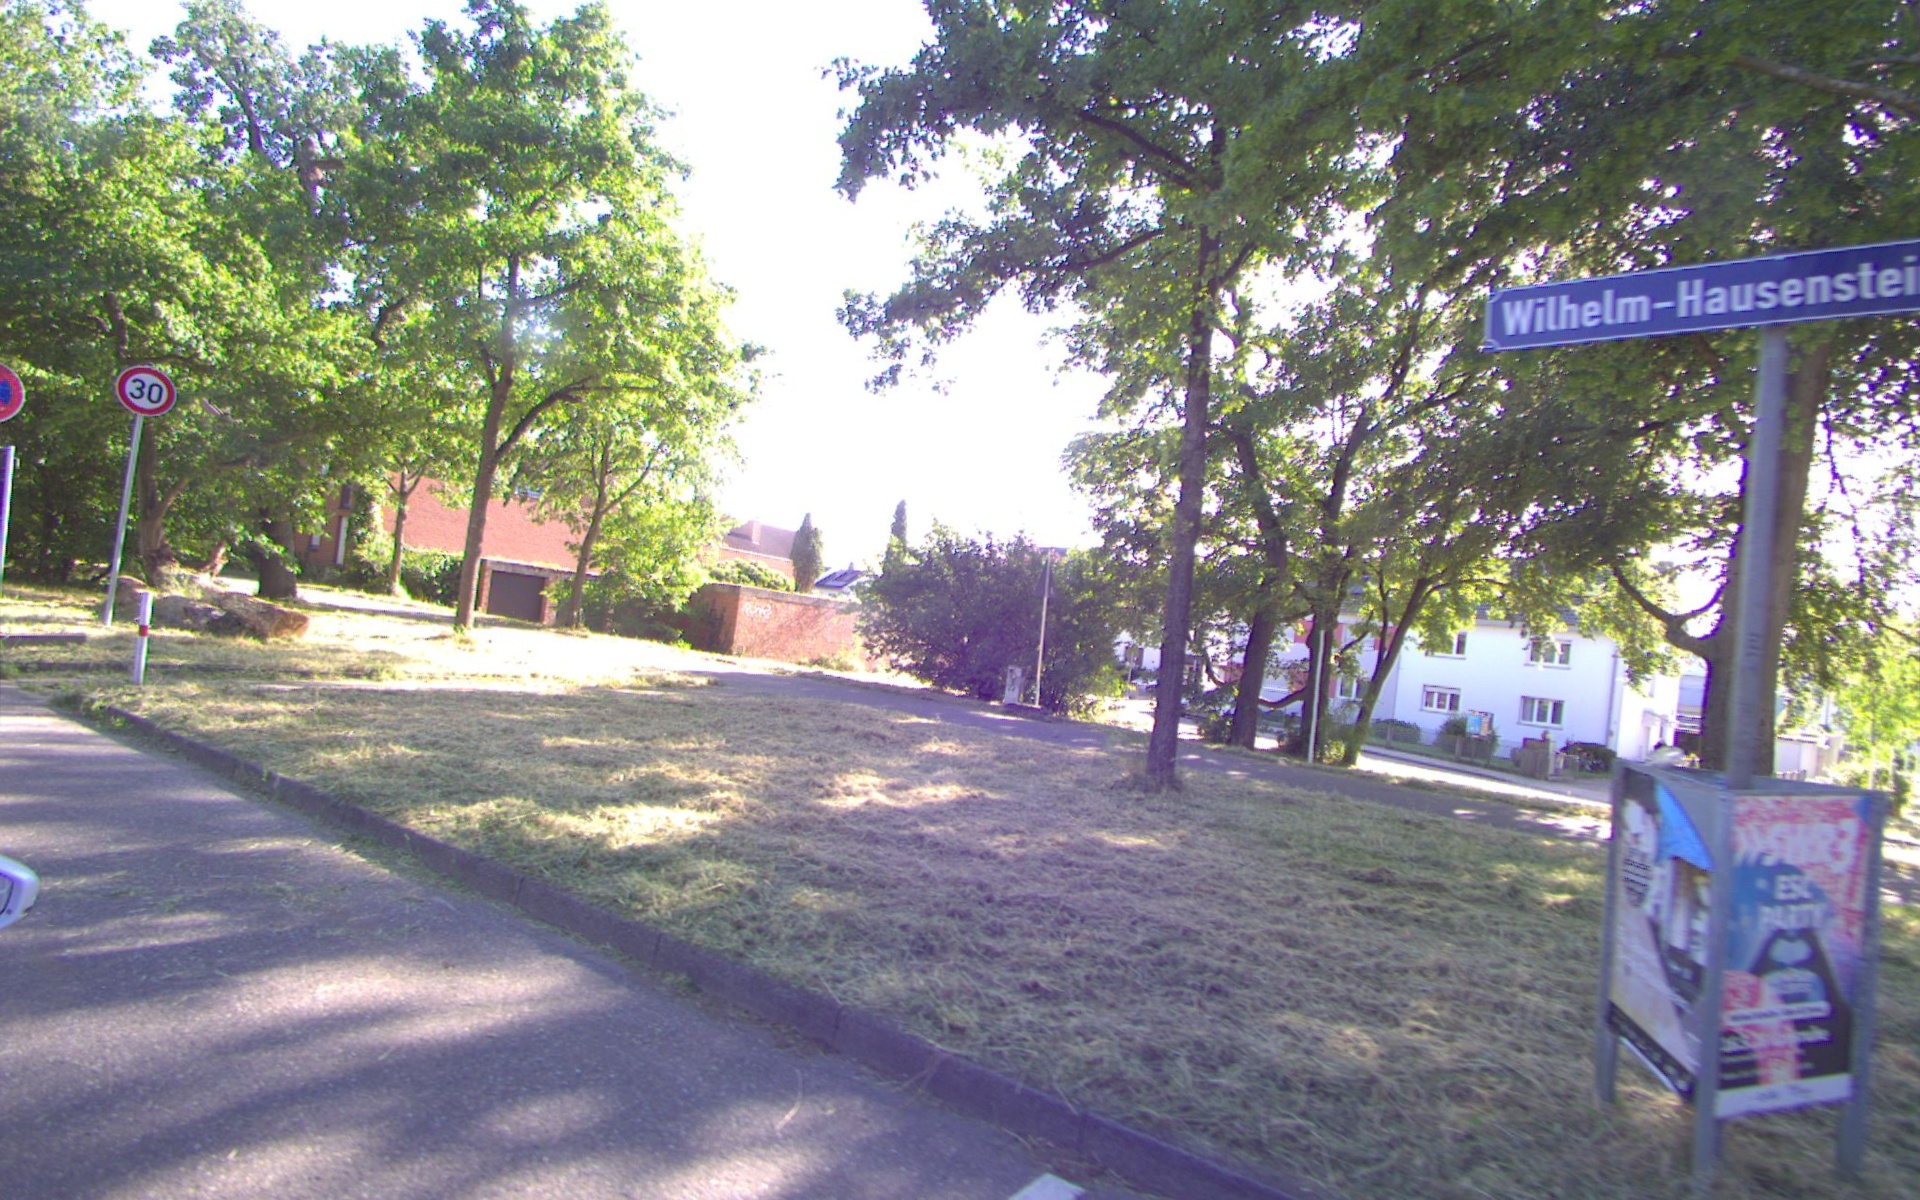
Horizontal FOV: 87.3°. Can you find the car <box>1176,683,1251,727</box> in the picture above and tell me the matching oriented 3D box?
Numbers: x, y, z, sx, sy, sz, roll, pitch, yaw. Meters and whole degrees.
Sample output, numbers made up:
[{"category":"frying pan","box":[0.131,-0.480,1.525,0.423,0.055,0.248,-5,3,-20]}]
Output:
[{"category":"car","box":[11.857,4.914,47.154,1.513,1.569,3.161,8,-2,-29]}]

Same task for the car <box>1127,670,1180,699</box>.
[{"category":"car","box":[13.041,5.697,67.644,3.615,1.515,1.435,10,-3,-40]}]
